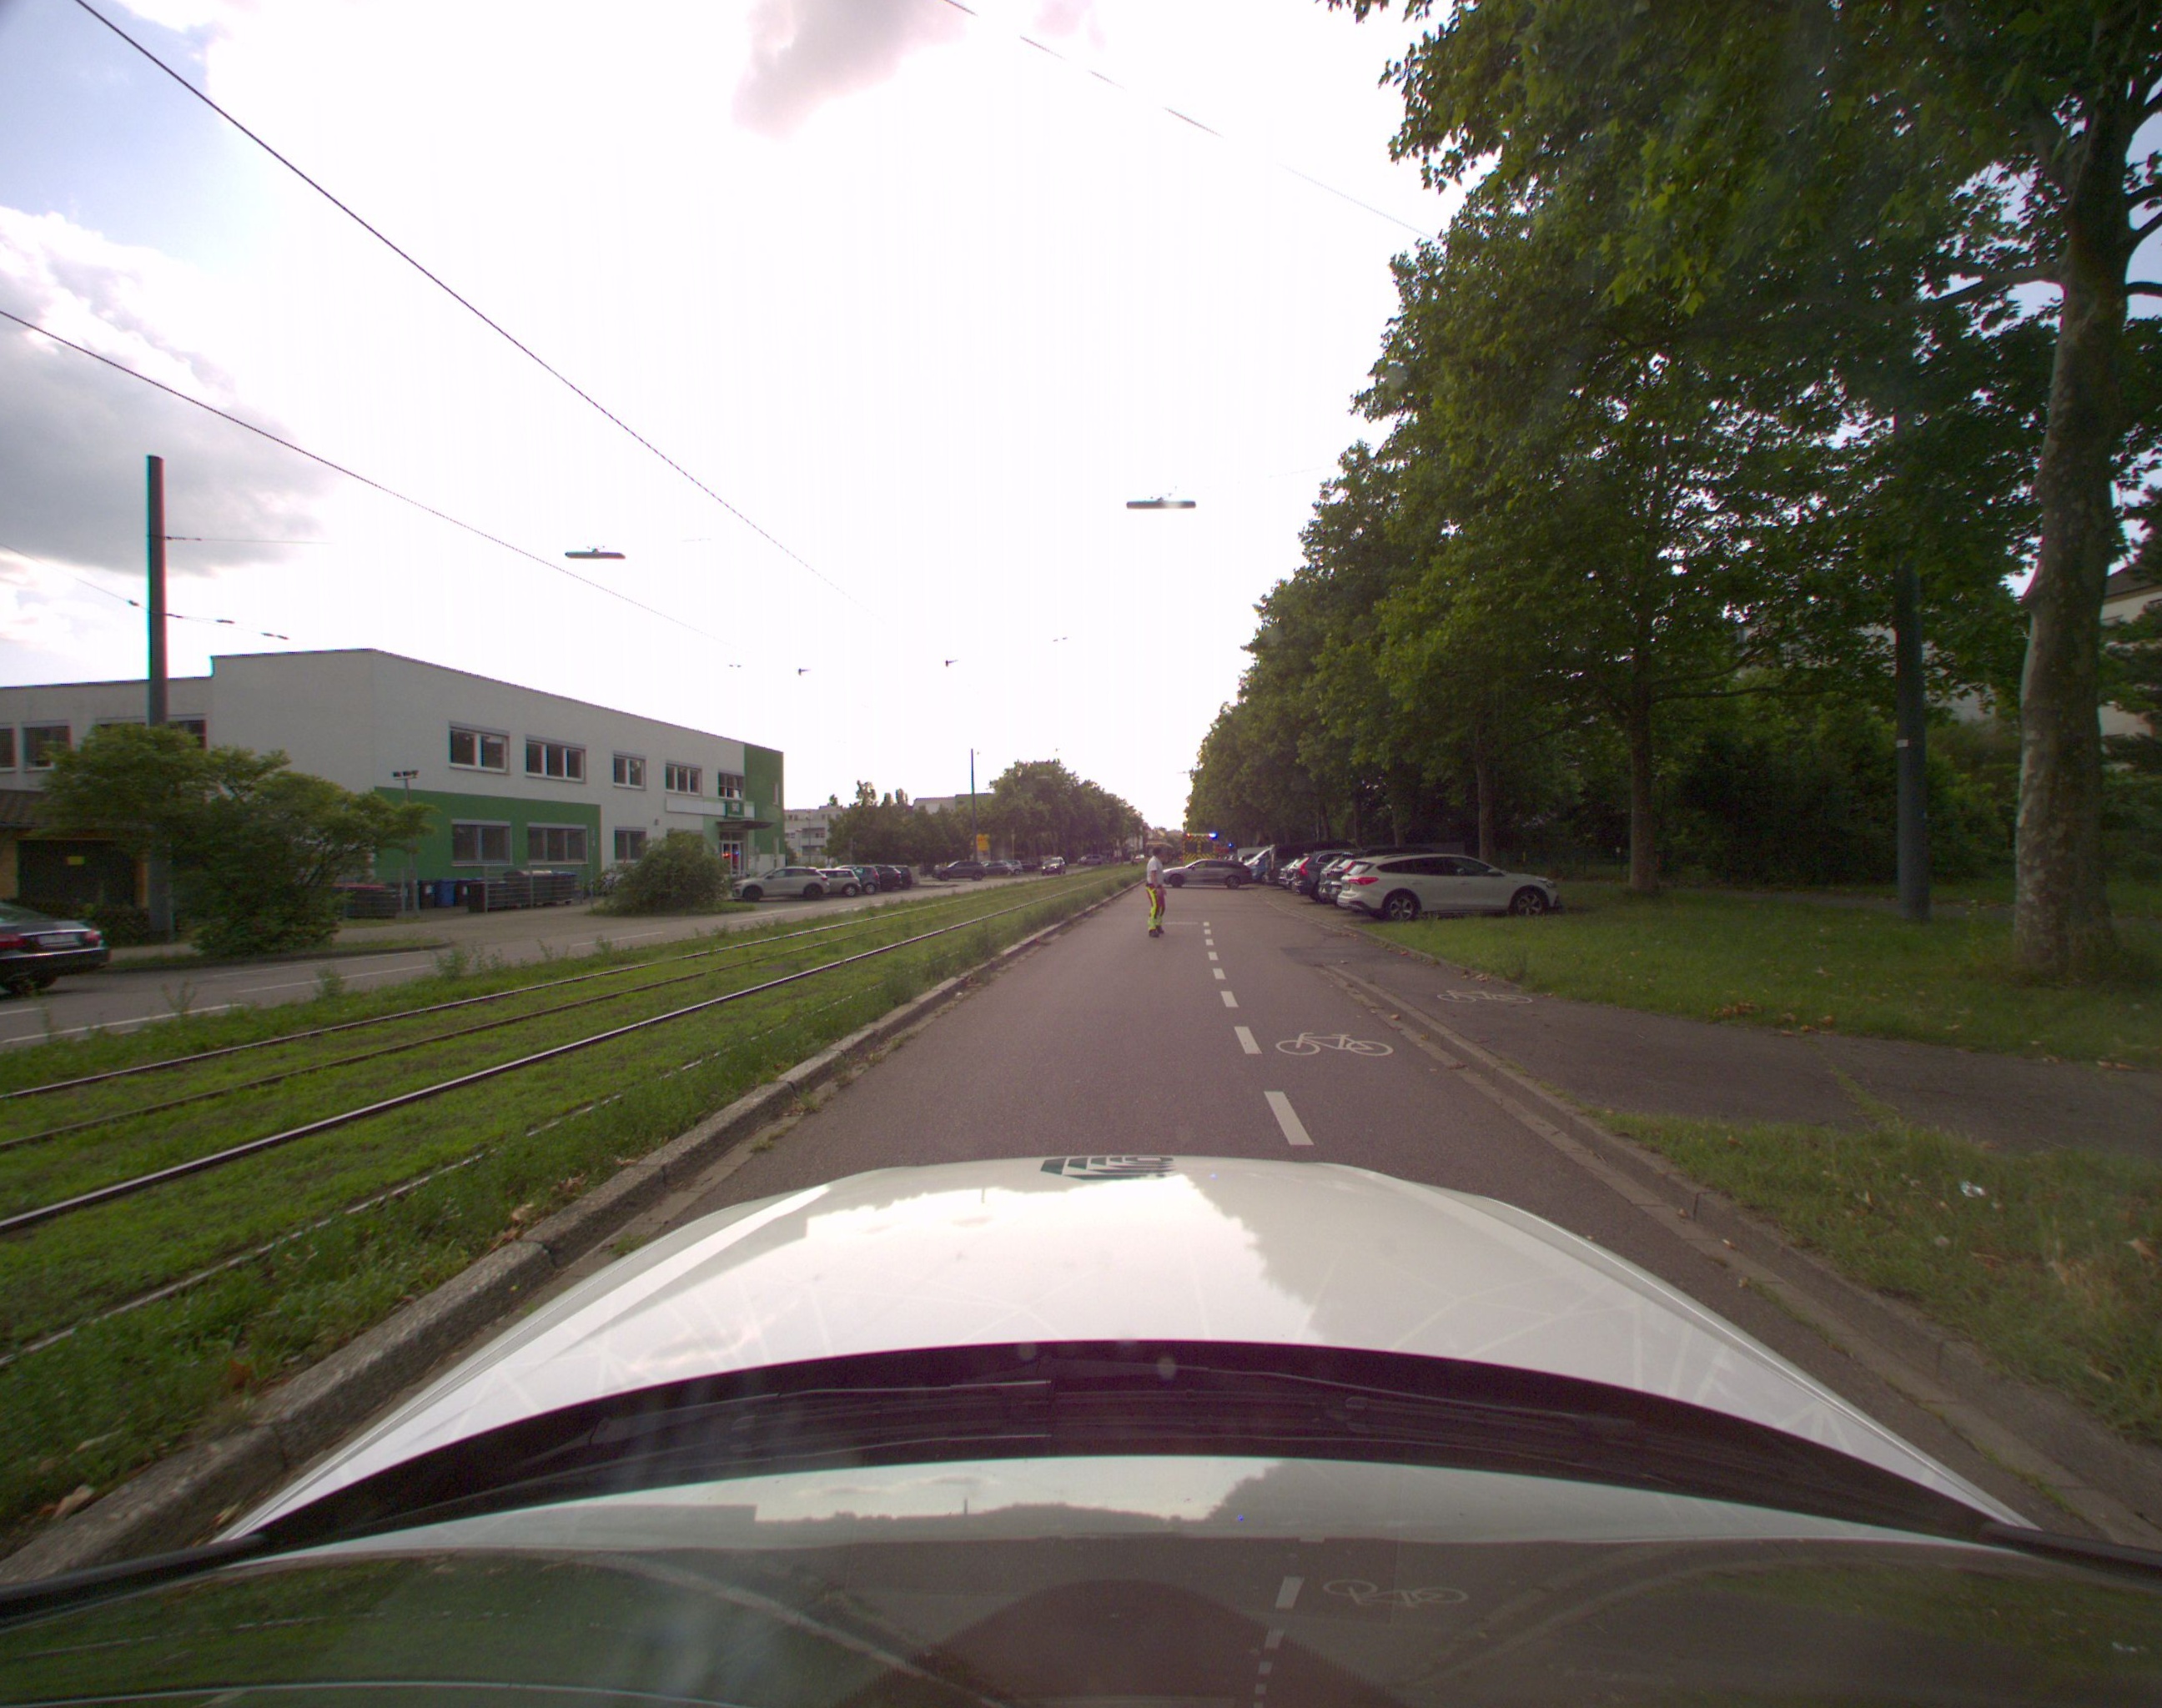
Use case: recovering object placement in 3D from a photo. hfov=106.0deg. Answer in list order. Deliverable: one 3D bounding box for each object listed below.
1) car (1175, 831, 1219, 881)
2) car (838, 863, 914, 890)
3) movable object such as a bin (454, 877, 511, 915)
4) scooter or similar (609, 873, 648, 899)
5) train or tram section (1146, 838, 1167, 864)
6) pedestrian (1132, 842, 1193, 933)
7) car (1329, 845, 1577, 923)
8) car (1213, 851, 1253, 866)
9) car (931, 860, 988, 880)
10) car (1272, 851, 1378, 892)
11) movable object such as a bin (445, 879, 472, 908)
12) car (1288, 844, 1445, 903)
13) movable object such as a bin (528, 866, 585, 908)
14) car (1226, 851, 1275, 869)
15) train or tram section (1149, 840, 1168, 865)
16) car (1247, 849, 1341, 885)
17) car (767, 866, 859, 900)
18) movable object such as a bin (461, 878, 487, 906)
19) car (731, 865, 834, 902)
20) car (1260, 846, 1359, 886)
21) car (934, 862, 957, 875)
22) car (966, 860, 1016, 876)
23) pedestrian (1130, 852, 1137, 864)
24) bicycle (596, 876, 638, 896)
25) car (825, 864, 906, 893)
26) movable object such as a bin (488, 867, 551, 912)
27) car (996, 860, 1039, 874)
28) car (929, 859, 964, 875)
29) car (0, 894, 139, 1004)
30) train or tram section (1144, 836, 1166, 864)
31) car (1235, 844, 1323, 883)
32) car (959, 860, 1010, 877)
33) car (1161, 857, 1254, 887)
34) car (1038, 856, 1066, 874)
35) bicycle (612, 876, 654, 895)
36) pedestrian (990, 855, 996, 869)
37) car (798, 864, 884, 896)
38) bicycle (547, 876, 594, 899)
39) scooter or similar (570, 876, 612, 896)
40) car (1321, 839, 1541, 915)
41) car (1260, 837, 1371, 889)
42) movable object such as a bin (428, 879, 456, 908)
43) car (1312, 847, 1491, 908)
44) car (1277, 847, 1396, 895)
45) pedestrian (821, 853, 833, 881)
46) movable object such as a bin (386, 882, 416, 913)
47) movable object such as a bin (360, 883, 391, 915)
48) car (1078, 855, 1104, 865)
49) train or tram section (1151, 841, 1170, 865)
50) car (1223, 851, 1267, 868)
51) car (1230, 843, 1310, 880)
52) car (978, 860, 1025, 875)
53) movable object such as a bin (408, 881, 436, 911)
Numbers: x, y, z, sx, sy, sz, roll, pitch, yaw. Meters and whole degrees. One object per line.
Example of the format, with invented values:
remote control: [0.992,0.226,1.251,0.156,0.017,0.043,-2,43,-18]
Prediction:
car: [7.656,0.130,53.159,2.626,2.966,6.316,2,0,9]
car: [-12.455,1.350,49.474,4.238,1.482,1.870,-2,0,-22]
movable object such as a bin: [-20.885,1.437,28.436,0.999,1.234,1.260,0,1,10]
scooter or similar: [-20.720,1.438,37.270,1.290,1.156,1.101,0,-1,36]
train or tram section: [10.959,-0.349,117.336,2.498,3.584,7.460,-3,-1,7]
pedestrian: [1.577,0.627,15.775,0.809,1.686,0.842,0,-1,-36]
car: [8.096,0.630,18.074,4.637,1.473,1.850,-2,0,4]
car: [18.392,0.589,98.499,4.525,1.608,1.858,-2,-1,3]
car: [-9.518,1.258,63.760,4.231,1.482,1.872,0,-1,-17]
car: [10.091,0.720,33.917,3.944,1.494,1.759,-2,-1,7]
movable object such as a bin: [-23.677,1.490,30.986,0.565,1.042,0.566,0,1,8]
car: [8.808,0.610,25.464,4.354,1.639,1.761,-2,-1,9]
movable object such as a bin: [-20.341,1.273,31.632,0.999,1.519,1.609,0,1,10]
car: [16.685,0.577,80.443,4.525,1.608,1.858,-2,-1,3]
train or tram section: [11.945,-0.235,124.731,2.498,3.584,7.460,-3,-1,7]
car: [11.283,0.688,43.428,4.526,1.660,1.857,-2,-1,3]
car: [-13.277,1.394,40.344,4.238,1.482,1.870,-2,0,-22]
movable object such as a bin: [-23.585,1.481,31.645,0.565,1.042,0.566,0,1,8]
car: [-13.735,1.337,37.469,4.244,1.482,1.867,-2,0,-27]
car: [11.376,0.599,40.856,4.521,1.766,1.859,-2,-1,7]
car: [-18.850,1.970,113.569,1.982,1.750,4.009,1,0,8]
car: [-8.476,1.276,76.809,4.245,1.482,1.866,0,-1,-28]
pedestrian: [6.810,0.547,105.915,0.876,1.525,0.752,0,-1,7]
bicycle: [-22.103,1.510,38.799,1.847,0.899,0.459,0,-1,8]
car: [-12.305,1.365,46.454,4.238,1.482,1.870,-2,0,-22]
movable object such as a bin: [-20.621,1.277,29.954,0.999,1.519,1.716,0,1,10]
car: [-6.843,1.357,87.940,4.250,1.482,1.864,0,-1,-32]
car: [-16.303,1.547,98.633,3.949,1.750,2.012,1,0,39]
car: [-16.561,1.357,11.099,4.640,1.407,1.875,-2,-2,-12]
train or tram section: [9.983,-0.463,109.953,2.498,3.584,7.460,-3,-1,7]
car: [11.107,0.513,46.015,4.525,2.001,1.858,-2,-1,3]
car: [-8.717,1.329,73.901,4.245,1.482,1.866,0,-1,-28]
car: [6.248,0.864,40.162,4.426,1.385,1.772,1,0,10]
car: [-2.777,1.035,78.181,1.983,1.558,4.378,-3,0,7]
bicycle: [-21.968,1.528,39.939,1.847,0.899,0.459,0,-1,8]
pedestrian: [-10.371,0.944,96.016,0.463,1.676,0.604,-2,-1,6]
car: [-12.801,1.361,43.394,4.238,1.482,1.870,-2,0,-22]
bicycle: [-22.426,1.464,35.790,1.847,0.986,0.459,0,-1,8]
scooter or similar: [-22.442,1.469,37.302,1.725,0.899,0.459,0,-1,8]
car: [8.573,0.556,20.271,4.637,1.626,1.850,-2,0,4]
car: [10.566,0.400,36.943,4.521,2.123,1.859,-2,-1,7]
movable object such as a bin: [-23.799,1.479,30.341,0.565,1.042,0.566,0,1,8]
car: [8.810,0.641,22.738,4.354,1.501,1.761,-2,0,9]
car: [9.674,0.631,31.029,3.956,1.605,1.754,-2,-1,-3]
pedestrian: [-16.909,0.841,54.247,0.543,1.828,0.510,-2,-1,6]
movable object such as a bin: [-24.065,1.535,28.814,0.565,1.042,0.566,0,1,8]
movable object such as a bin: [-24.171,1.538,27.905,0.565,1.042,0.566,0,1,8]
car: [1.846,1.159,152.035,4.643,1.633,1.864,-1,0,-32]
train or tram section: [12.936,-0.121,132.103,2.498,3.584,7.460,-3,-1,7]
car: [18.099,0.601,90.215,4.525,1.608,1.858,-2,-1,3]
car: [11.690,0.461,50.583,4.525,2.043,1.858,-2,-1,3]
car: [-7.811,1.300,79.774,4.245,1.482,1.866,0,-1,-28]
movable object such as a bin: [-23.926,1.529,29.571,0.565,1.042,0.566,0,1,8]
